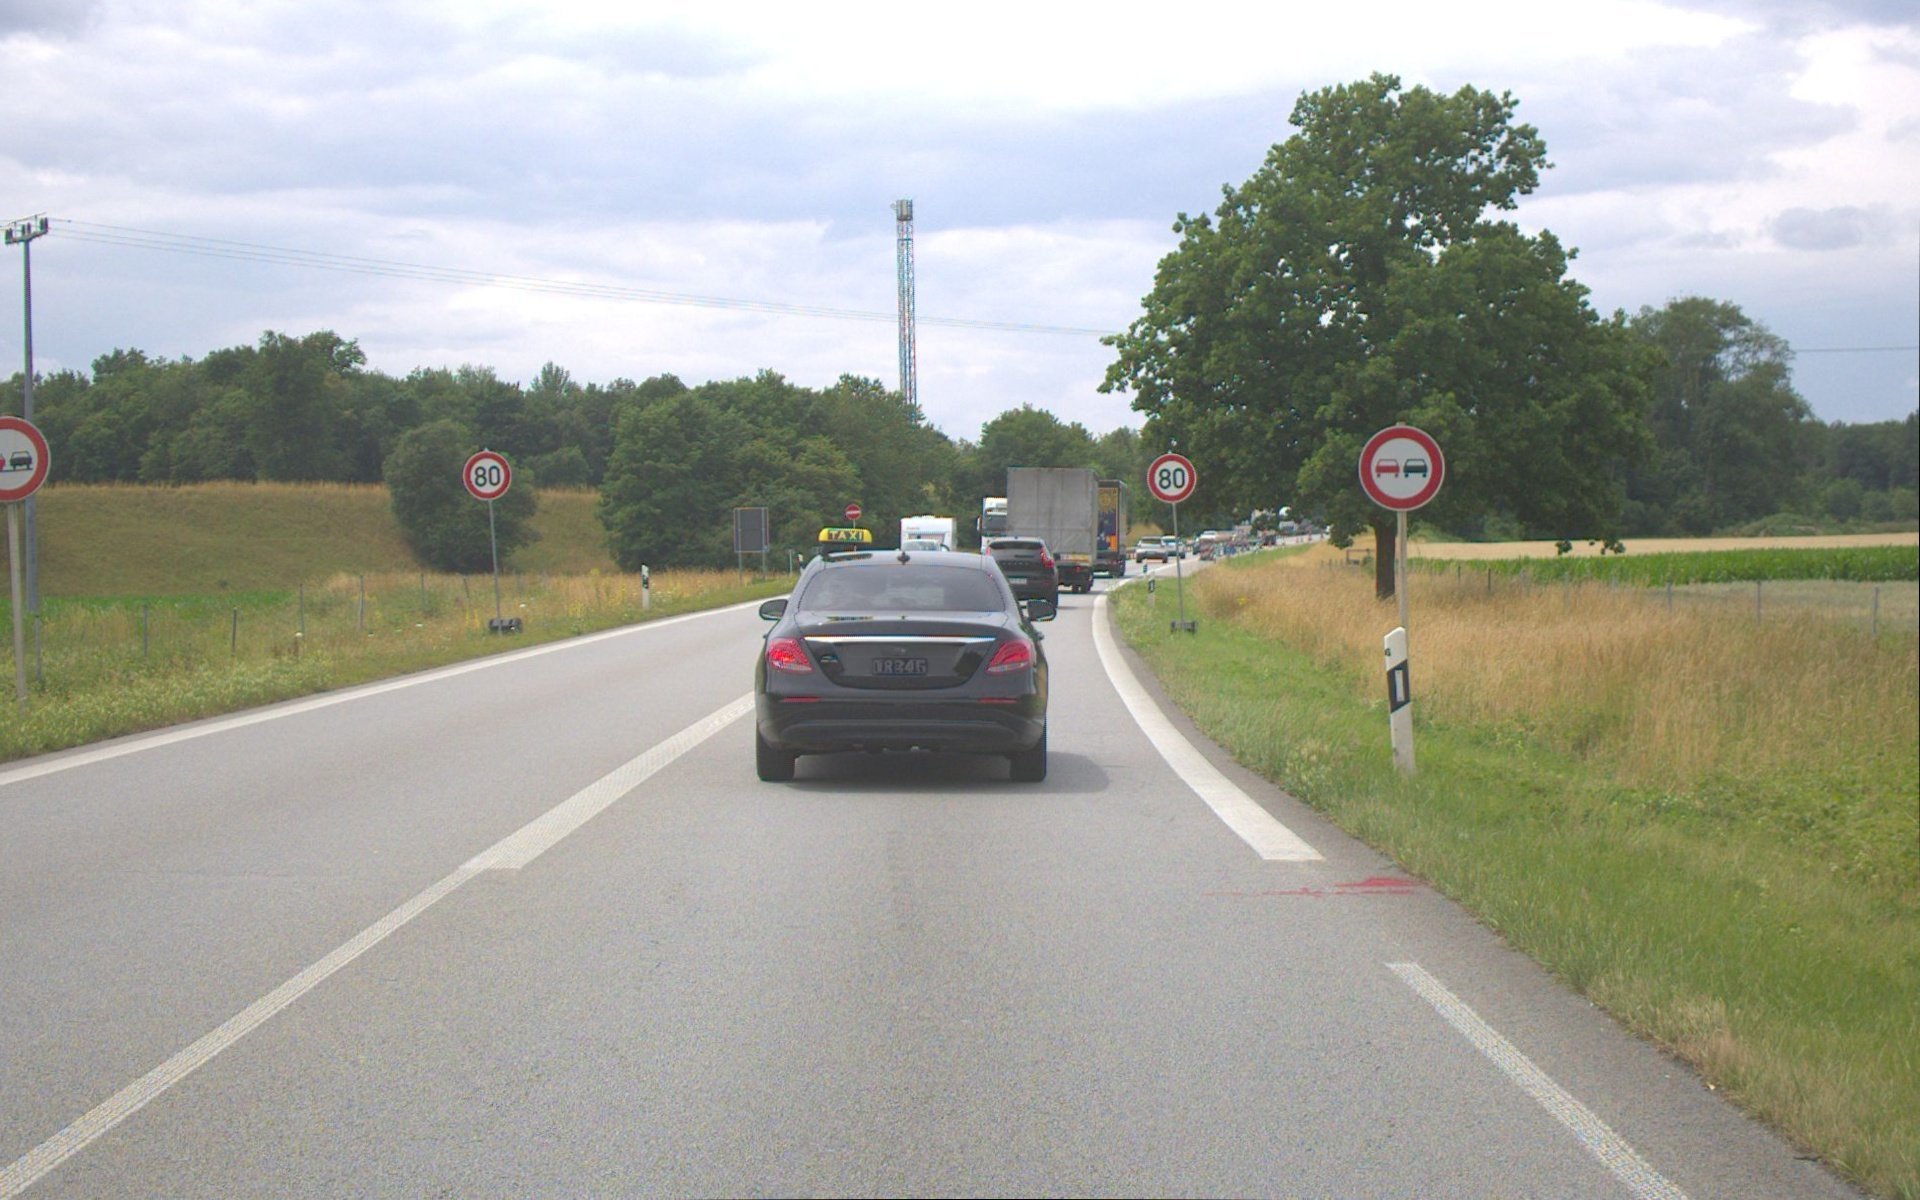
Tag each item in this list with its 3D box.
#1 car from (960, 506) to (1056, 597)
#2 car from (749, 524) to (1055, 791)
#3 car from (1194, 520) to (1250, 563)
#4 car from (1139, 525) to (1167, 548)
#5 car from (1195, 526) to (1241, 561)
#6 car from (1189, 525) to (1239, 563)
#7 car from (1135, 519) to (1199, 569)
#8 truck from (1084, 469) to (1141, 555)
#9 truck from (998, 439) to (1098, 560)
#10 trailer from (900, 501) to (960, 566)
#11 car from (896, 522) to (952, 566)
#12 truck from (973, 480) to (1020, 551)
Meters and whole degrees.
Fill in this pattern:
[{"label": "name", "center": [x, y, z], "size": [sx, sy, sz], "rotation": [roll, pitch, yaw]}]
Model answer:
[{"label": "car", "center": [1.072, -1.106, 79.144], "size": [1.993, 2.007, 4.000], "rotation": [1, 1, -2]}, {"label": "car", "center": [-0.404, 0.319, 22.520], "size": [1.795, 1.554, 4.000], "rotation": [1, 1, -2]}, {"label": "car", "center": [10.504, -2.333, 137.967], "size": [1.795, 1.657, 4.000], "rotation": [1, 1, -2]}, {"label": "car", "center": [11.981, -3.952, 213.487], "size": [1.649, 1.391, 3.706], "rotation": [1, 1, 3]}, {"label": "car", "center": [12.475, -2.726, 166.357], "size": [1.795, 1.657, 4.000], "rotation": [1, 1, -2]}, {"label": "car", "center": [11.317, -2.491, 153.186], "size": [1.795, 1.657, 4.000], "rotation": [1, 1, -2]}, {"label": "car", "center": [7.114, -1.915, 118.304], "size": [1.795, 1.657, 4.000], "rotation": [1, 1, -2]}, {"label": "truck", "center": [6.397, -3.668, 144.579], "size": [1.993, 3.513, 4.593], "rotation": [1, 1, -2]}, {"label": "truck", "center": [2.697, -3.006, 103.818], "size": [2.587, 3.512, 4.811], "rotation": [1, 1, 6]}, {"label": "trailer", "center": [-1.210, -2.705, 141.282], "size": [2.182, 2.566, 6.243], "rotation": [1, 1, 2]}, {"label": "car", "center": [-1.397, -2.206, 136.001], "size": [2.006, 1.652, 4.327], "rotation": [1, 1, 2]}, {"label": "truck", "center": [2.101, -4.769, 194.742], "size": [2.490, 3.982, 5.204], "rotation": [0, 1, 3]}]
